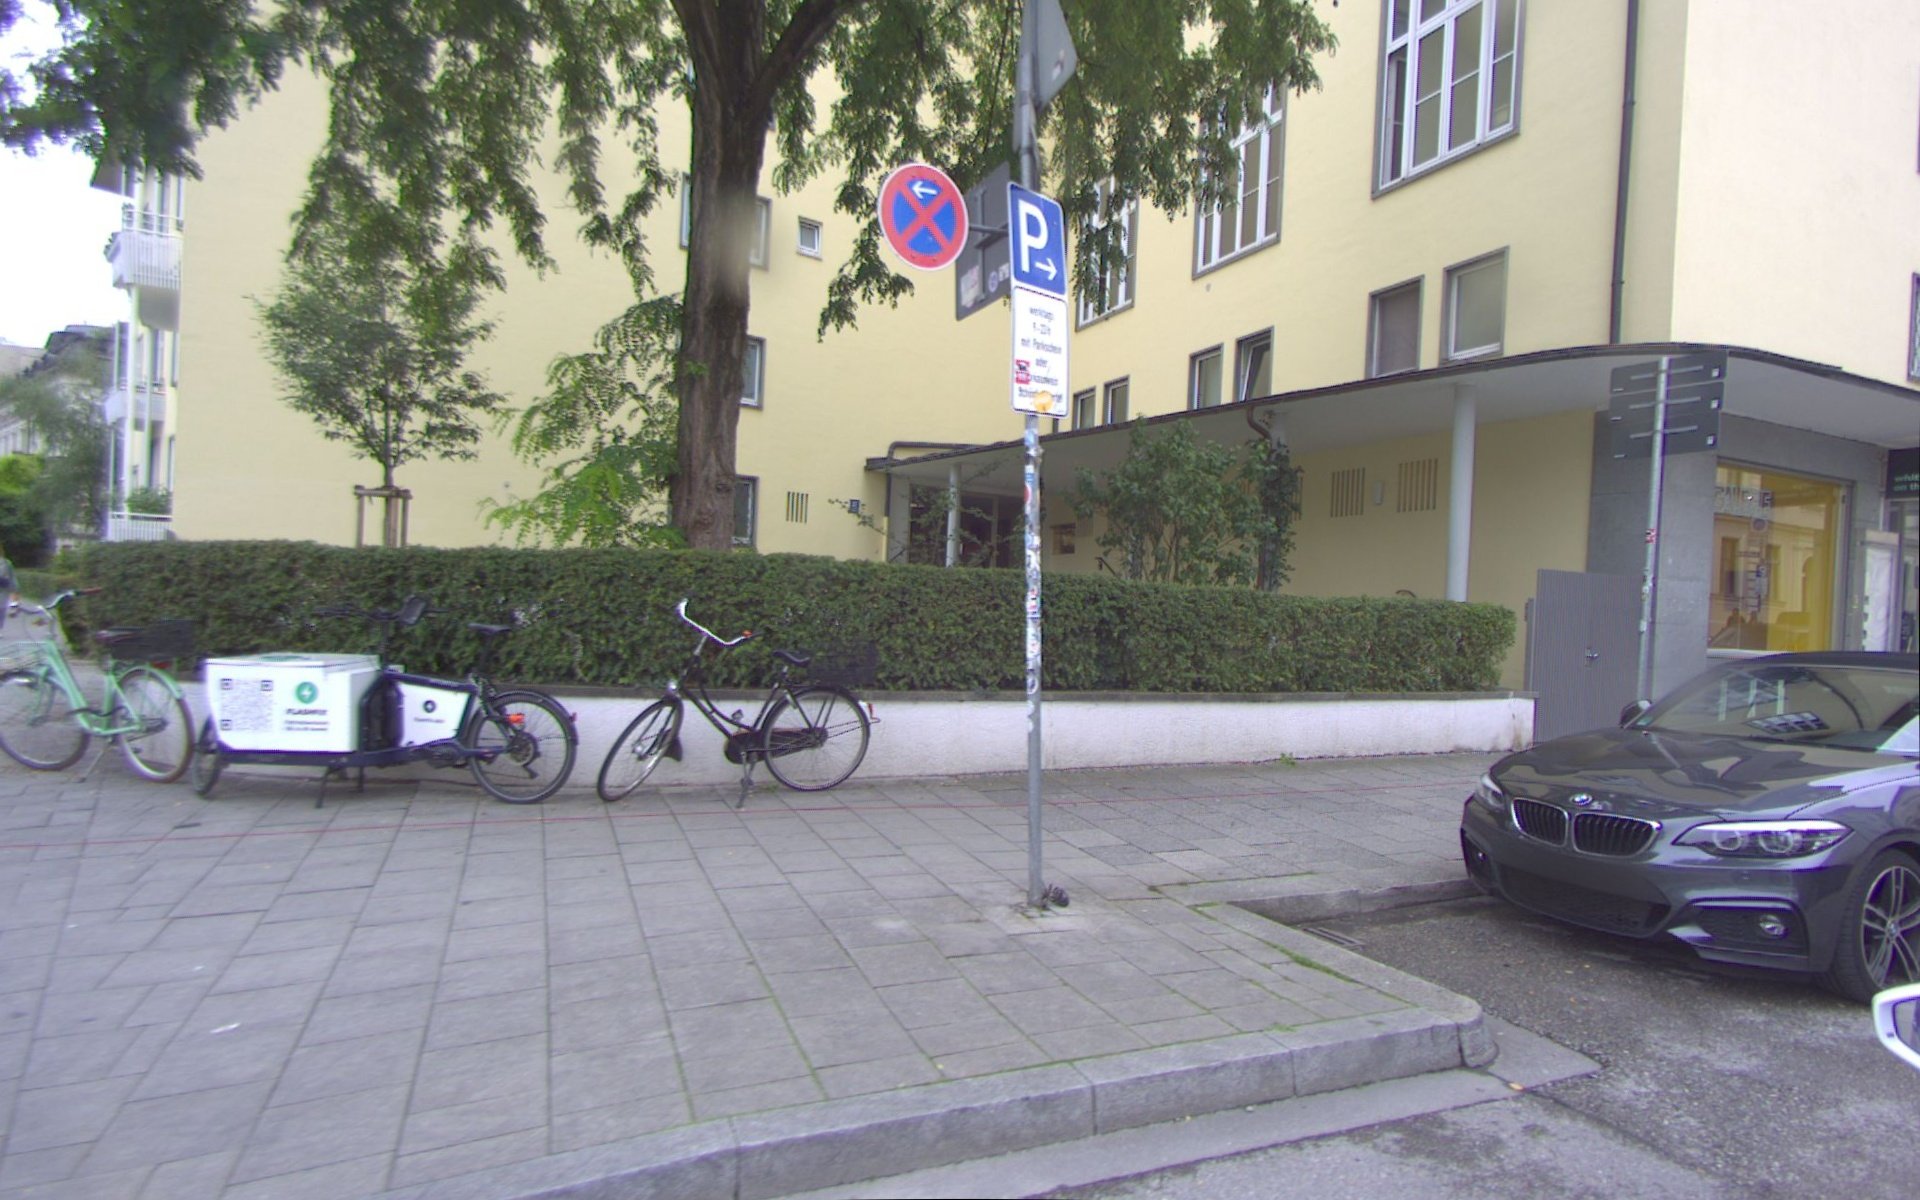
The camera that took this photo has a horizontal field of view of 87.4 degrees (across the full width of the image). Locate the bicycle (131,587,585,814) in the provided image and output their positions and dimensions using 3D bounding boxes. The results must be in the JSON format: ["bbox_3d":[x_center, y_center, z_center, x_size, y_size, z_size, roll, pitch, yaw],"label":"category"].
[{"bbox_3d":[-3.425,0.551,5.814,2.252,1.141,0.583,3,2,0],"label":"bicycle"}]

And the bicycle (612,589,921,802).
[{"bbox_3d":[-1.230,0.592,6.428,1.827,1.226,0.561,2,1,-22],"label":"bicycle"}]

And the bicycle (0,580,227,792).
[{"bbox_3d":[-5.541,0.478,6.389,1.915,1.172,0.583,2,2,26],"label":"bicycle"}]

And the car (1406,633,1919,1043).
[{"bbox_3d":[4.510,0.935,5.238,4.041,1.429,1.741,2,-1,-24],"label":"car"}]

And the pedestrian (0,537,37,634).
[{"bbox_3d":[-17.126,-0.273,17.911,0.821,1.699,0.683,3,0,-35],"label":"pedestrian"}]
